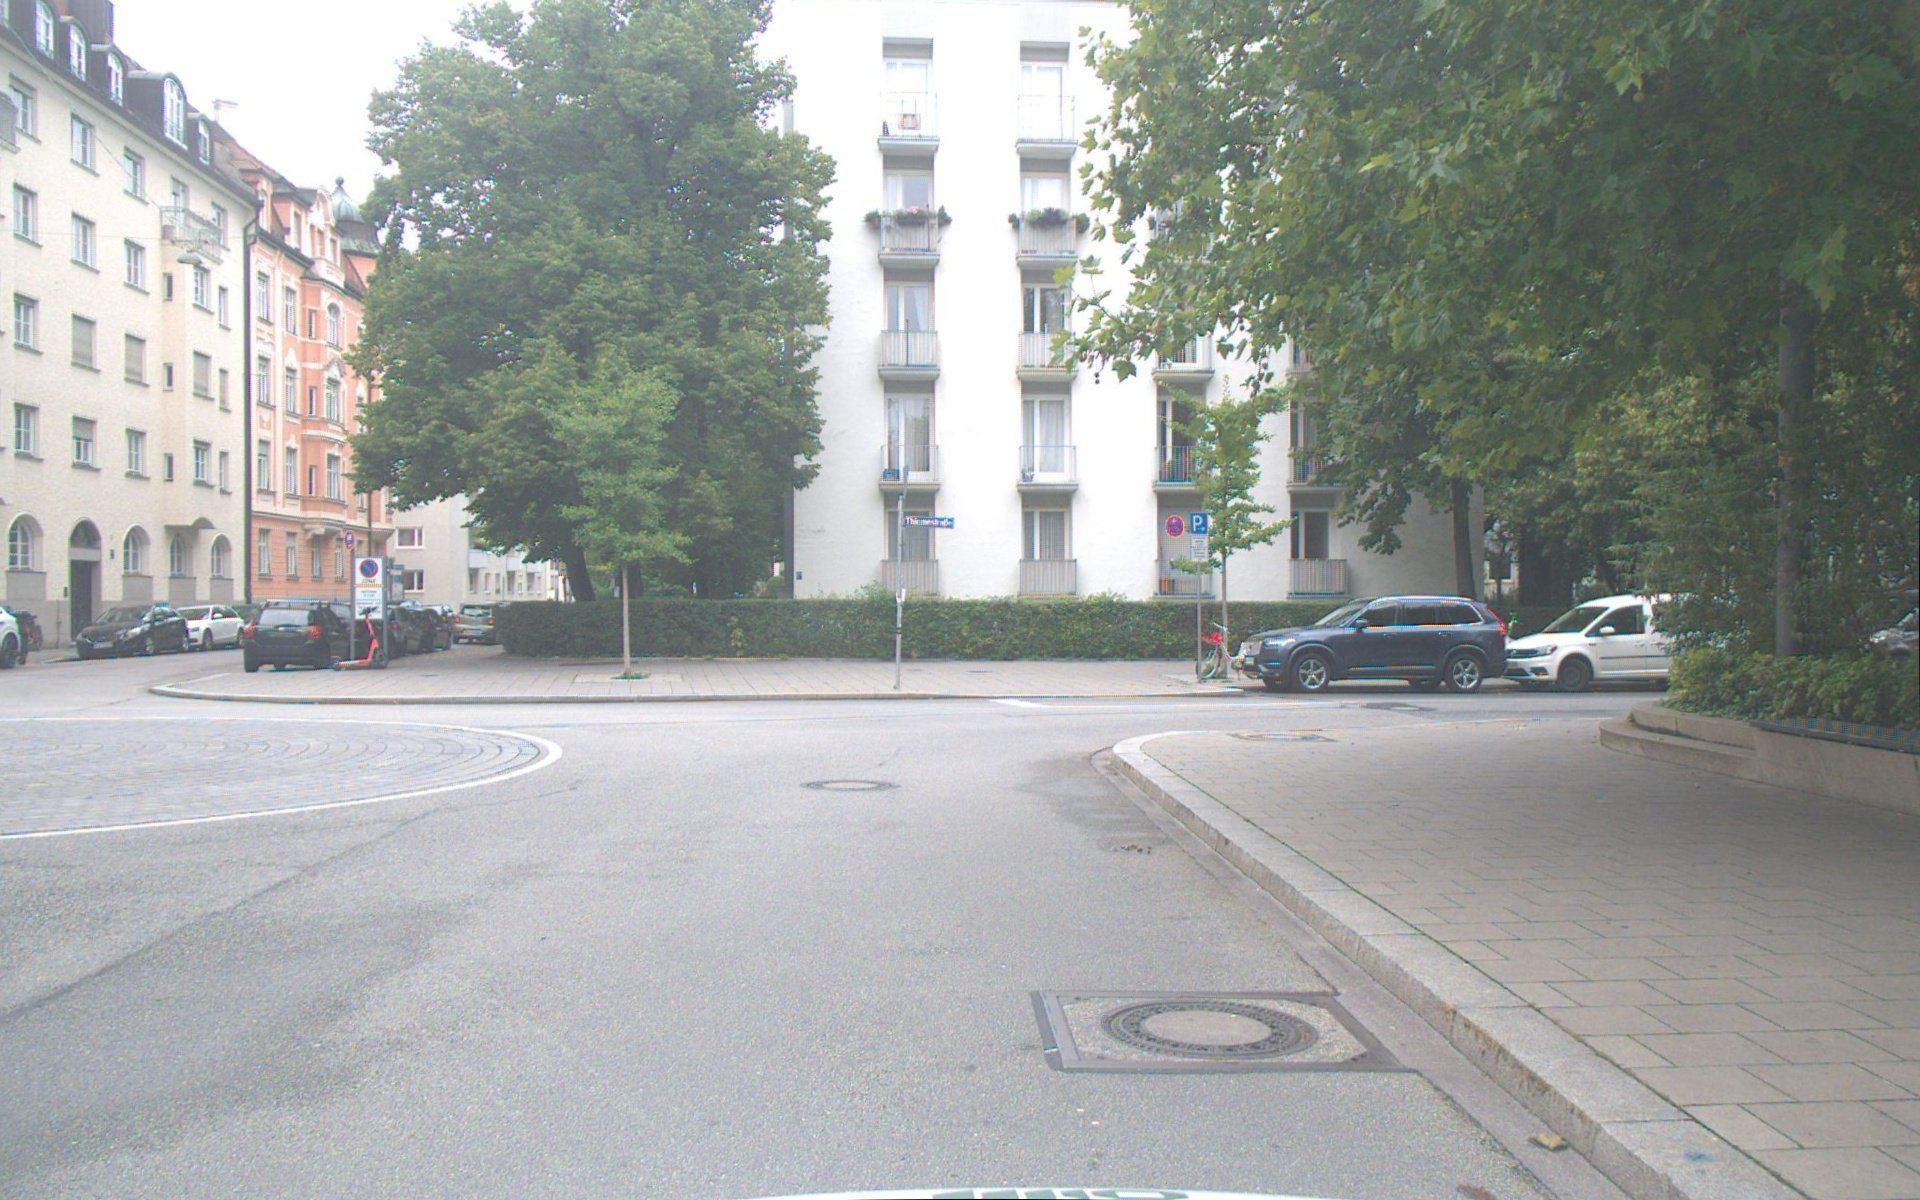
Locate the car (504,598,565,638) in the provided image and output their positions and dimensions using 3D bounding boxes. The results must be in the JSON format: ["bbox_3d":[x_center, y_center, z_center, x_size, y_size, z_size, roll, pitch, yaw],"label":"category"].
[{"bbox_3d":[-18.908,0.768,73.571,1.798,1.663,3.818,-2,0,-2],"label":"car"}]

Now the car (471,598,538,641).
[{"bbox_3d":[-18.646,0.781,67.911,1.799,1.663,4.112,-2,0,-4],"label":"car"}]

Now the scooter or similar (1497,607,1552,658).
[{"bbox_3d":[13.616,0.784,39.903,1.188,1.214,0.399,0,0,-7],"label":"scooter or similar"}]

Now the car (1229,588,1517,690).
[{"bbox_3d":[7.615,0.707,30.724,4.807,1.823,1.995,0,-1,-10],"label":"car"}]

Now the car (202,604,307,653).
[{"bbox_3d":[-24.205,0.935,56.903,1.936,1.608,4.405,0,0,-3],"label":"car"}]

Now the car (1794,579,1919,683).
[{"bbox_3d":[19.477,0.609,32.958,5.102,1.967,1.887,0,-1,-14],"label":"car"}]

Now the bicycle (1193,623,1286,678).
[{"bbox_3d":[5.565,1.000,32.978,1.794,1.067,0.490,0,0,-16],"label":"bicycle"}]

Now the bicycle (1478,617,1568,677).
[{"bbox_3d":[11.457,0.933,33.719,0.530,1.169,1.811,0,0,-31],"label":"bicycle"}]

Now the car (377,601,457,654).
[{"bbox_3d":[-17.115,0.832,52.273,1.761,1.531,4.106,-2,0,-10],"label":"car"}]

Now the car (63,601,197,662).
[{"bbox_3d":[-23.428,0.843,46.890,1.938,1.644,4.704,0,0,-8],"label":"car"}]

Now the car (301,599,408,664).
[{"bbox_3d":[-15.334,0.760,42.061,1.761,1.531,4.225,-2,0,-10],"label":"car"}]

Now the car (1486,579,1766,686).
[{"bbox_3d":[12.741,0.608,31.731,4.745,1.952,1.831,0,-1,-11],"label":"car"}]

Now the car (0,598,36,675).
[{"bbox_3d":[-22.468,0.815,36.378,1.937,1.730,4.835,0,0,-5],"label":"car"}]

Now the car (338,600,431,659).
[{"bbox_3d":[-16.148,0.791,46.571,1.761,1.531,4.106,-2,0,-10],"label":"car"}]

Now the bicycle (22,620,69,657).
[{"bbox_3d":[-27.906,1.171,50.499,0.552,1.067,1.828,0,0,-5],"label":"bicycle"}]

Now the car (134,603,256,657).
[{"bbox_3d":[-23.853,0.896,51.751,1.936,1.608,4.405,0,0,-3],"label":"car"}]

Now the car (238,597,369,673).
[{"bbox_3d":[-14.543,0.730,36.866,1.785,1.531,4.412,-2,0,-9],"label":"car"}]

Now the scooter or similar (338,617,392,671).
[{"bbox_3d":[-12.342,0.912,34.308,0.989,1.107,0.386,0,0,-33],"label":"scooter or similar"}]

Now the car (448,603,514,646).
[{"bbox_3d":[-18.279,0.912,63.316,1.800,1.531,4.108,-2,0,-8],"label":"car"}]
